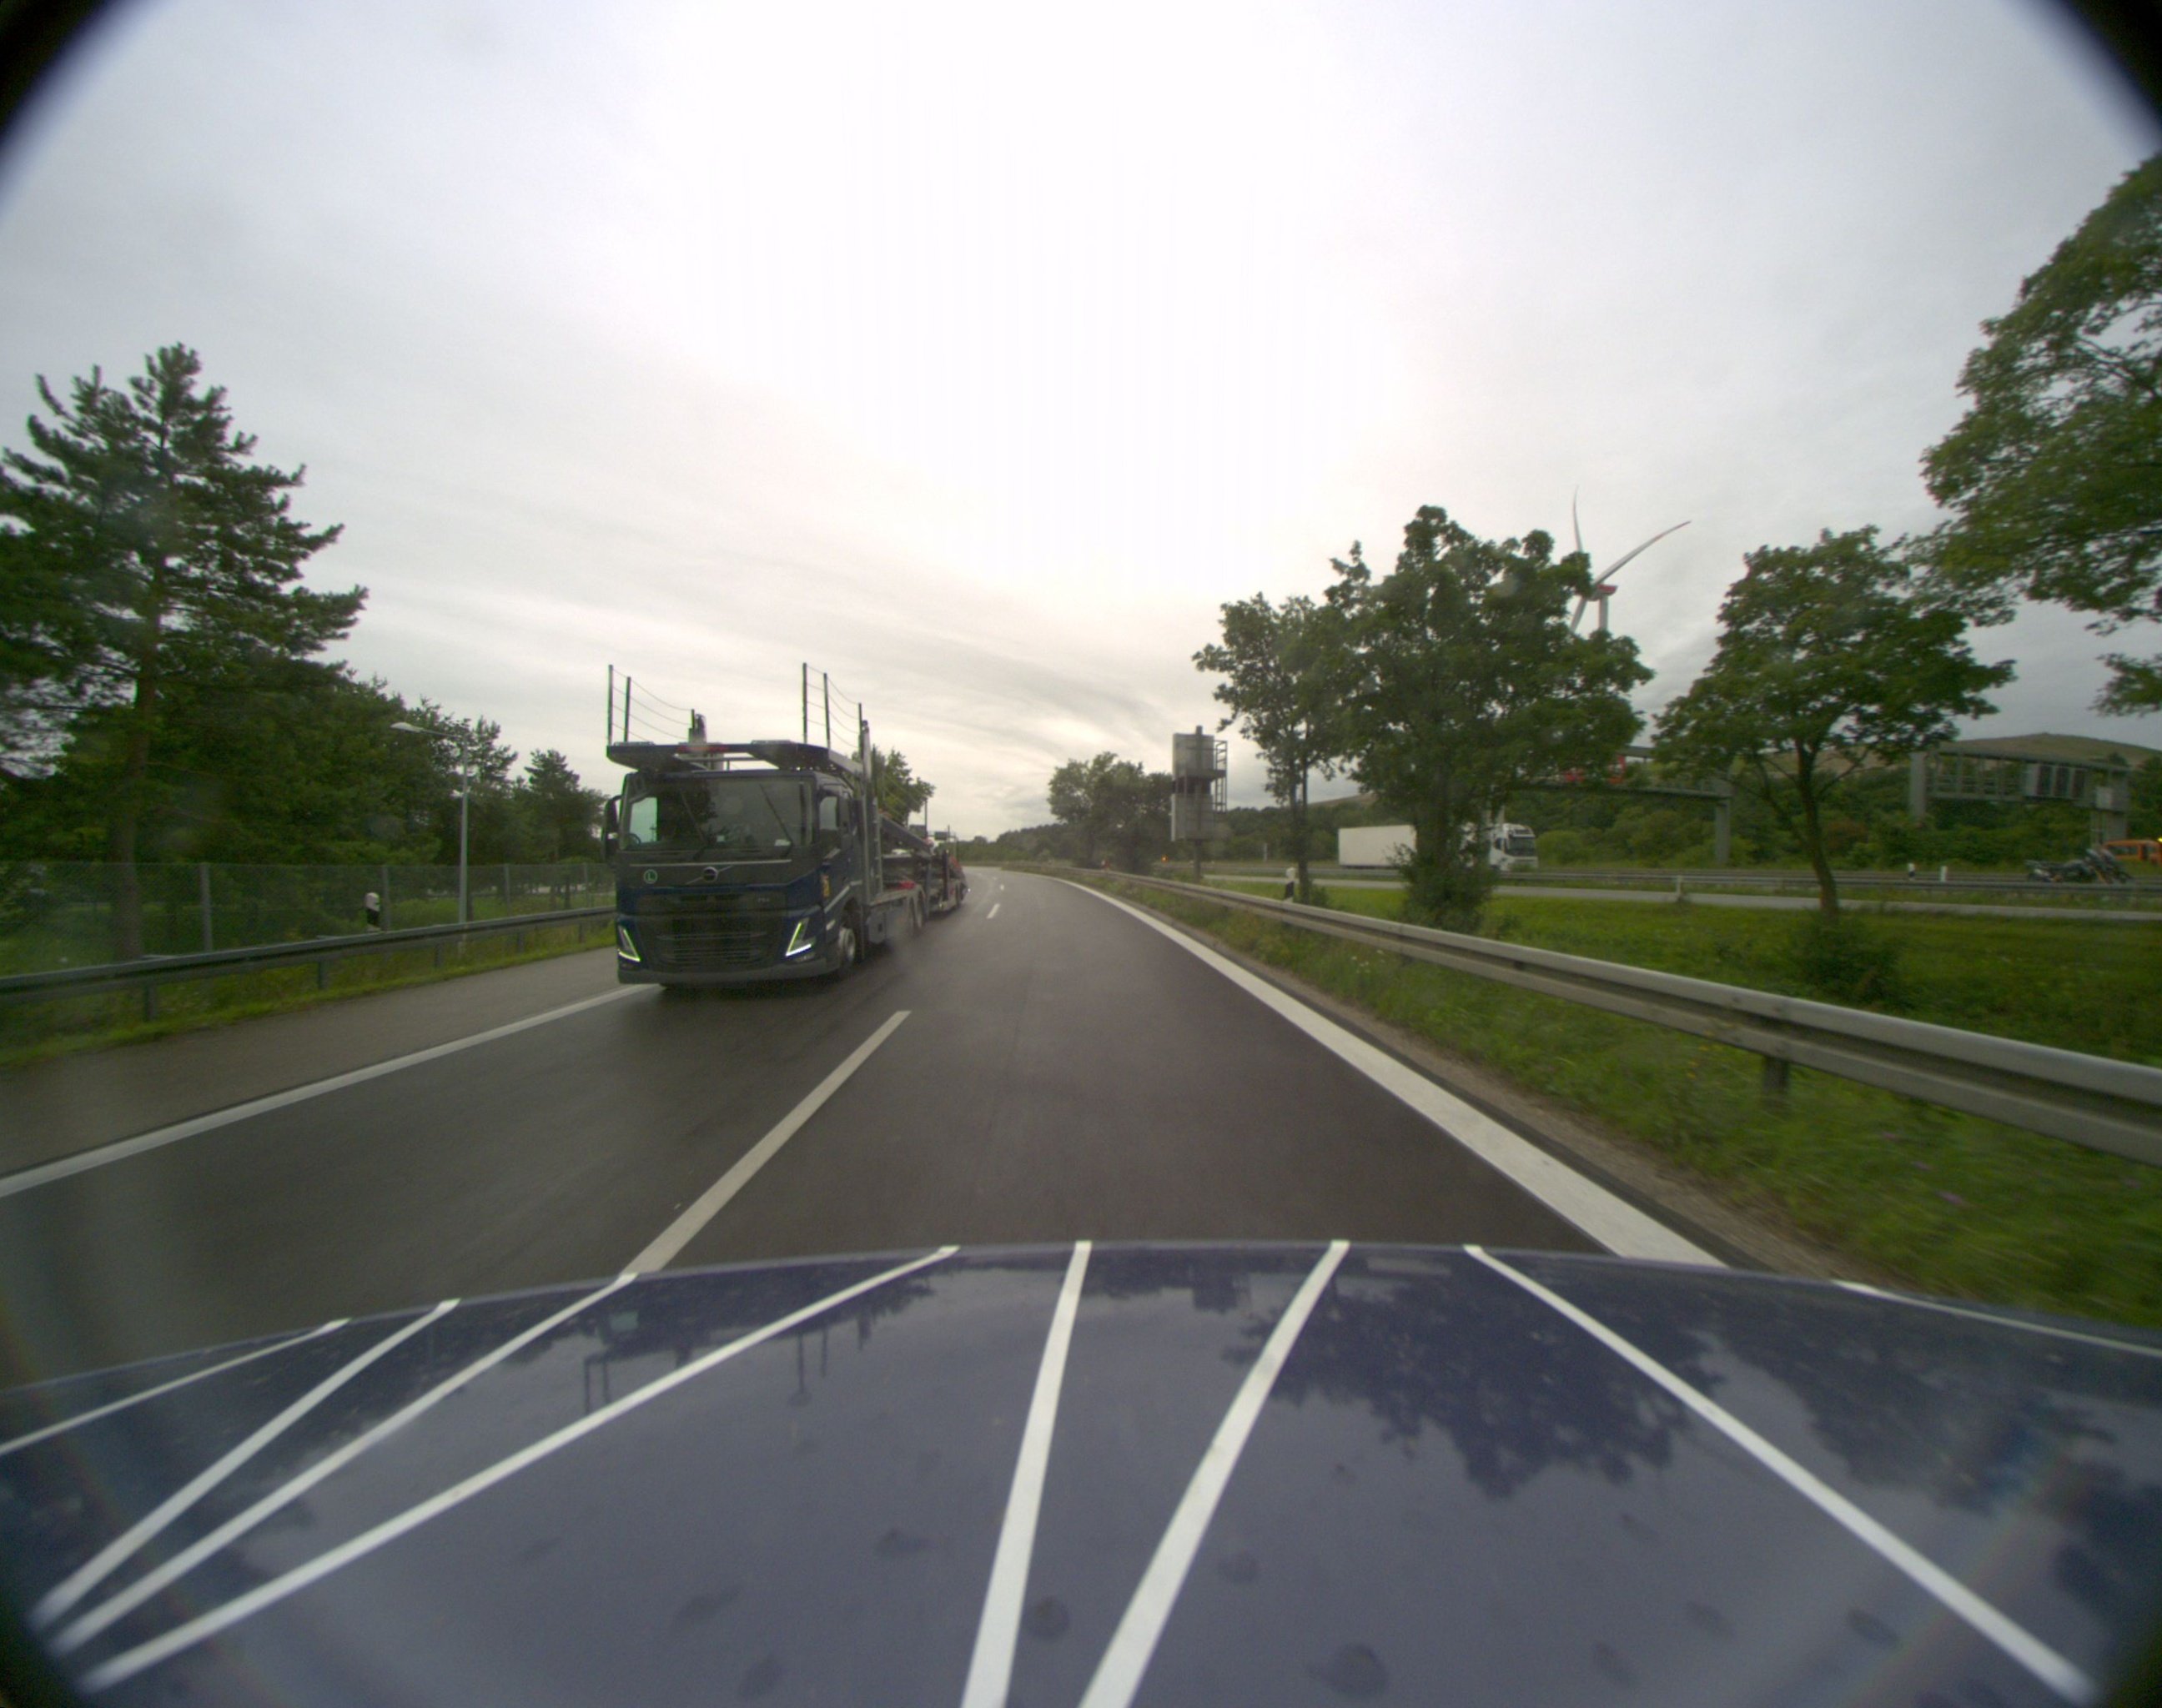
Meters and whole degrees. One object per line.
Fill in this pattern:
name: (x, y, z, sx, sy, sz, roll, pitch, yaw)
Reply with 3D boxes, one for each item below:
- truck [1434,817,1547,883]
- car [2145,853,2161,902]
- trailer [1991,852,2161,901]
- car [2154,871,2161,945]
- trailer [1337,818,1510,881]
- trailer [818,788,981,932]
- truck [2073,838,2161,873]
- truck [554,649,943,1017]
truck: (27.212, -0.255, 50.806, 2.778, 4.111, 6.434, -1, 0, -20)
car: (37.849, 0.797, 23.859, 1.890, 1.617, 4.798, -1, 1, -20)
trailer: (36.412, 0.772, 27.772, 1.890, 1.617, 3.604, -1, 1, -20)
car: (25.366, 1.194, 14.952, 1.969, 1.628, 4.546, -1, 1, -20)
trailer: (24.973, -0.294, 56.911, 2.778, 4.111, 13.927, -1, 0, -20)
trailer: (-4.880, 0.141, 22.770, 2.785, 3.265, 10.404, -2, 0, -3)
truck: (63.670, 0.072, 43.131, 2.001, 2.002, 8.799, -1, 1, -18)
truck: (-4.487, -0.215, 12.955, 2.746, 3.944, 9.126, -3, 0, -2)
